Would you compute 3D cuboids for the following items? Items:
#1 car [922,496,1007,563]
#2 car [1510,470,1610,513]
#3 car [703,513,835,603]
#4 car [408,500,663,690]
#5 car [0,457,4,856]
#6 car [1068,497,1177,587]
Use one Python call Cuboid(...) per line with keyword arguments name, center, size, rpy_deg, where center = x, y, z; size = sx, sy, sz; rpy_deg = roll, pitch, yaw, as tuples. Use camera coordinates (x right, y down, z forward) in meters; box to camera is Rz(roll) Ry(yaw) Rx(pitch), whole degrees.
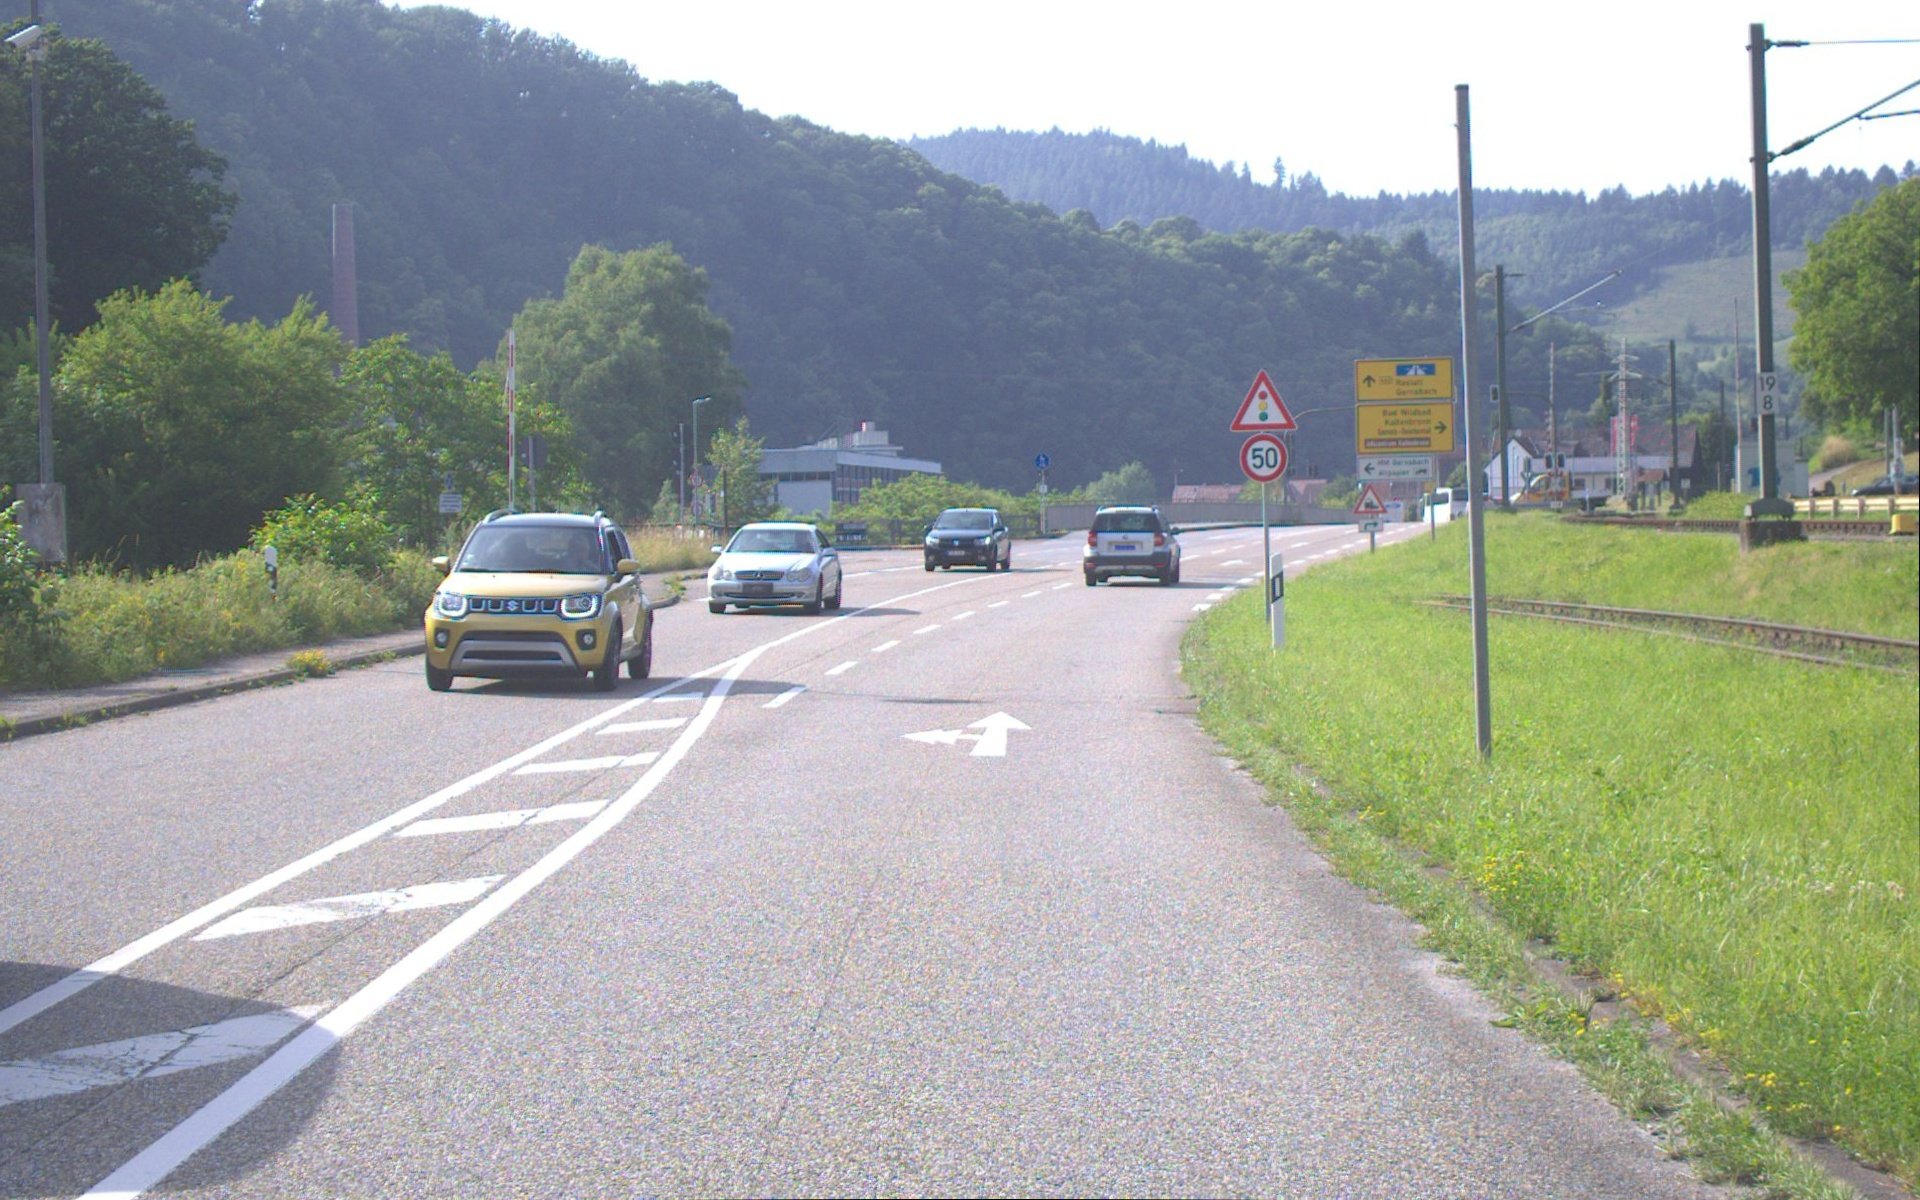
Cuboid(name="car", center=(0.140, -1.739, 84.031), size=(1.847, 1.579, 4.316), rpy_deg=(1, 2, 3))
Cuboid(name="car", center=(32.858, -5.946, 188.290), size=(5.281, 2.006, 1.999), rpy_deg=(-3, 1, 10))
Cuboid(name="car", center=(-2.995, -0.699, 54.639), size=(1.778, 1.343, 4.511), rpy_deg=(1, 1, 1))
Cuboid(name="car", center=(-3.792, -0.093, 31.268), size=(1.724, 1.619, 3.796), rpy_deg=(0, 1, 2))
Cuboid(name="car", center=(-4.325, 0.400, 9.811), size=(1.993, 1.752, 4.470), rpy_deg=(1, 1, -1))
Cuboid(name="car", center=(3.381, -1.218, 72.021), size=(1.993, 1.717, 3.990), rpy_deg=(-3, 1, 0))
